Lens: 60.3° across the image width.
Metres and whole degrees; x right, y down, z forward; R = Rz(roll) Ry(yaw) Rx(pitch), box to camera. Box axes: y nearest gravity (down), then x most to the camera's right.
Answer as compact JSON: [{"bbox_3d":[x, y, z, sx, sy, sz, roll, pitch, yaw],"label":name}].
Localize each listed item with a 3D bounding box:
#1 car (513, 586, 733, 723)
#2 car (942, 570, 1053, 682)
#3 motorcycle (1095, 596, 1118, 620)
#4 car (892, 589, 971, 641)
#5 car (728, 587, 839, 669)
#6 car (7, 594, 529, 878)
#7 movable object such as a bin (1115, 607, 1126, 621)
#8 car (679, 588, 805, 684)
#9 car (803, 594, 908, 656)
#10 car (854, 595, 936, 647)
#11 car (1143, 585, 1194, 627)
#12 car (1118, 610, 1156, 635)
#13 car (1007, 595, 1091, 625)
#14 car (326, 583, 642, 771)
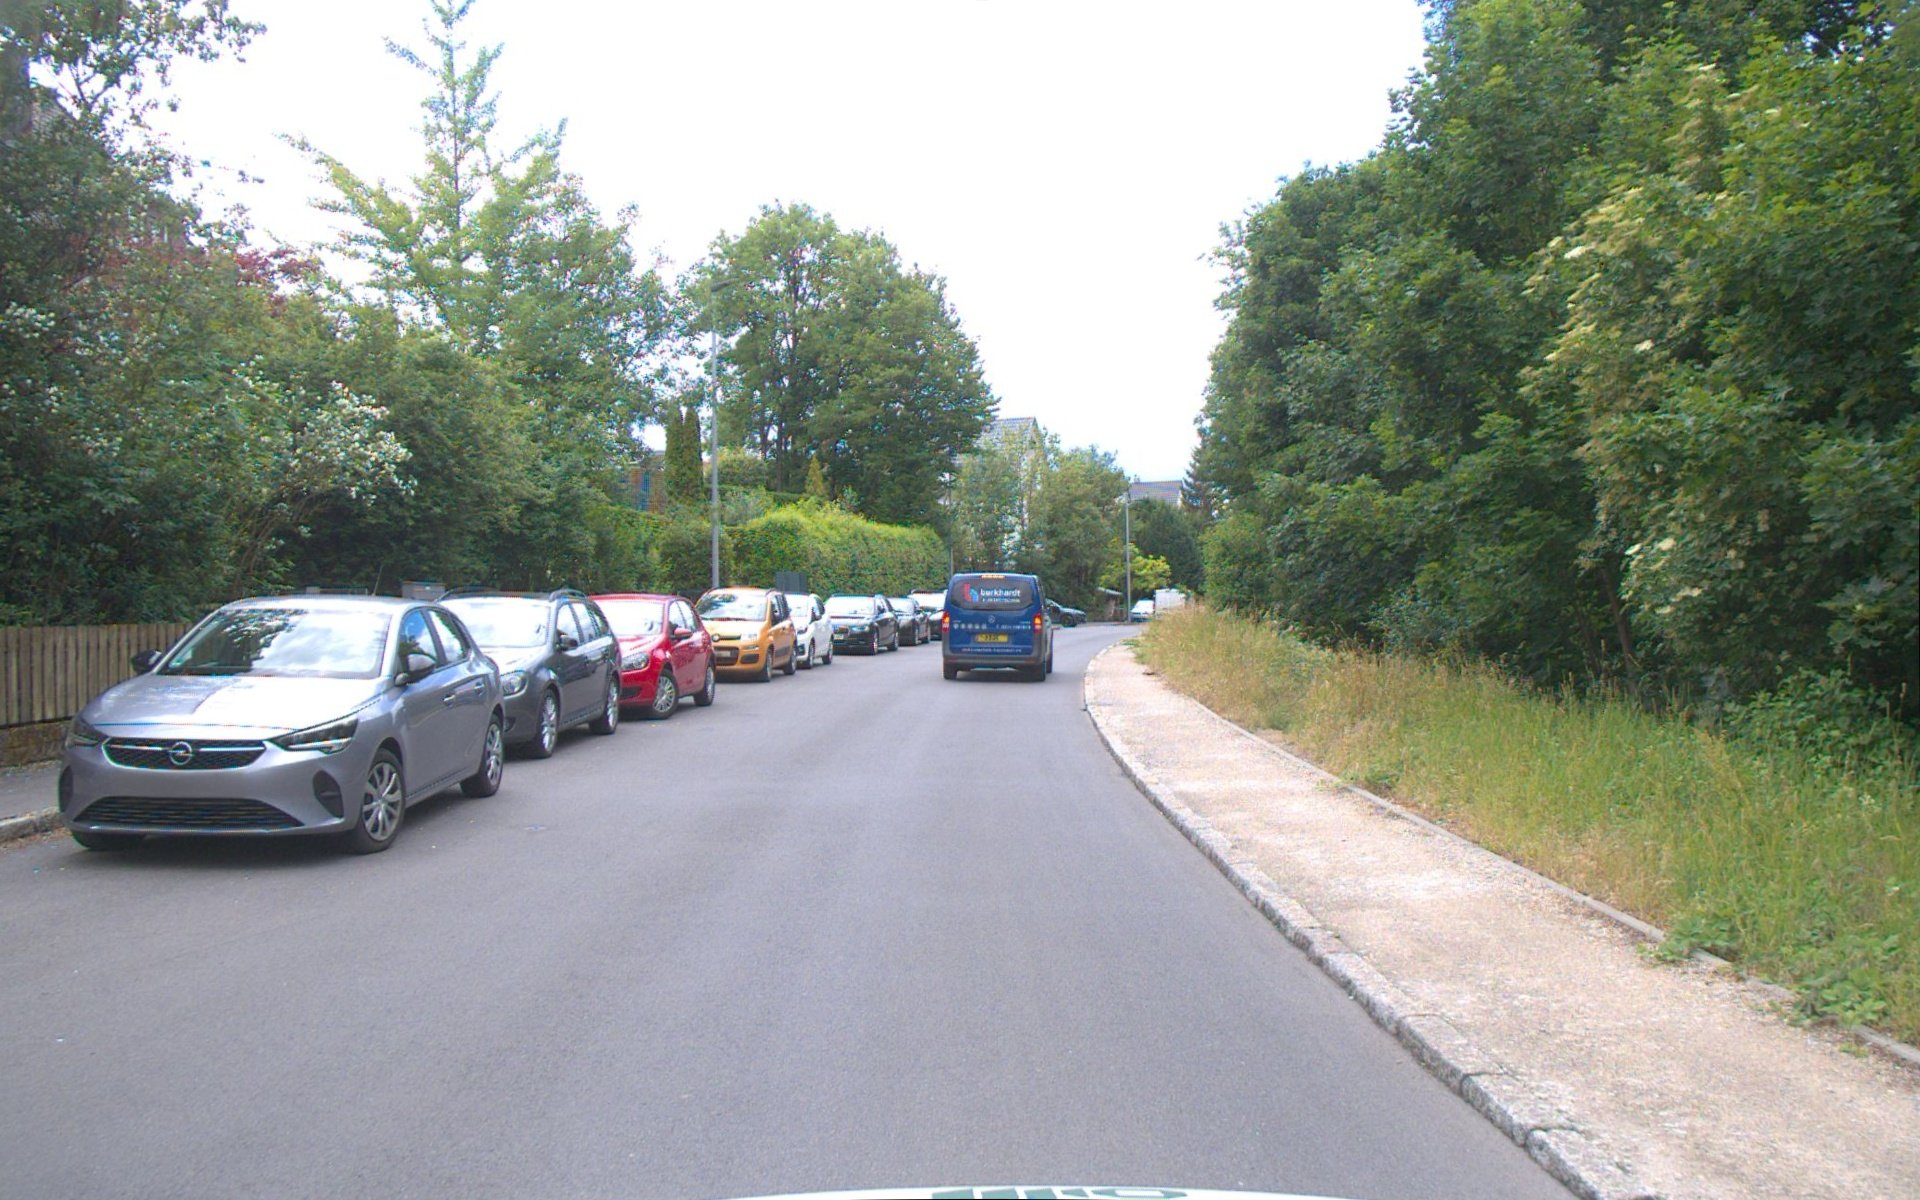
[{"bbox_3d":[-4.140,0.613,20.999,1.671,1.541,4.365,1,0,3],"label":"car"},{"bbox_3d":[0.686,0.435,30.830,1.896,1.913,4.531,1,0,1],"label":"car"},{"bbox_3d":[9.498,0.554,107.139,0.793,1.511,2.897,1,-1,18],"label":"motorcycle"},{"bbox_3d":[-0.865,0.448,53.122,1.621,1.560,4.478,1,0,11],"label":"car"},{"bbox_3d":[-3.502,0.534,33.402,1.554,1.541,3.592,1,0,5],"label":"car"},{"bbox_3d":[-4.067,0.691,10.526,1.672,1.435,4.159,1,0,-2],"label":"car"},{"bbox_3d":[10.571,0.947,108.998,0.579,0.925,0.700,1,-1,23],"label":"movable object such as a bin"},{"bbox_3d":[-3.739,0.584,28.873,1.511,1.541,3.645,1,0,3],"label":"car"},{"bbox_3d":[-2.510,0.578,40.974,1.682,1.409,4.667,1,0,8],"label":"car"},{"bbox_3d":[-1.807,0.573,47.394,1.675,1.364,4.111,1,0,7],"label":"car"},{"bbox_3d":[10.886,0.319,85.921,2.159,2.100,6.140,0,0,11],"label":"car"},{"bbox_3d":[11.140,1.389,103.906,1.669,1.493,4.078,1,-1,16],"label":"car"},{"bbox_3d":[4.553,0.516,84.333,4.078,1.472,1.742,1,-1,9],"label":"car"},{"bbox_3d":[-4.403,0.636,16.033,1.671,1.541,4.496,1,0,1],"label":"car"}]
